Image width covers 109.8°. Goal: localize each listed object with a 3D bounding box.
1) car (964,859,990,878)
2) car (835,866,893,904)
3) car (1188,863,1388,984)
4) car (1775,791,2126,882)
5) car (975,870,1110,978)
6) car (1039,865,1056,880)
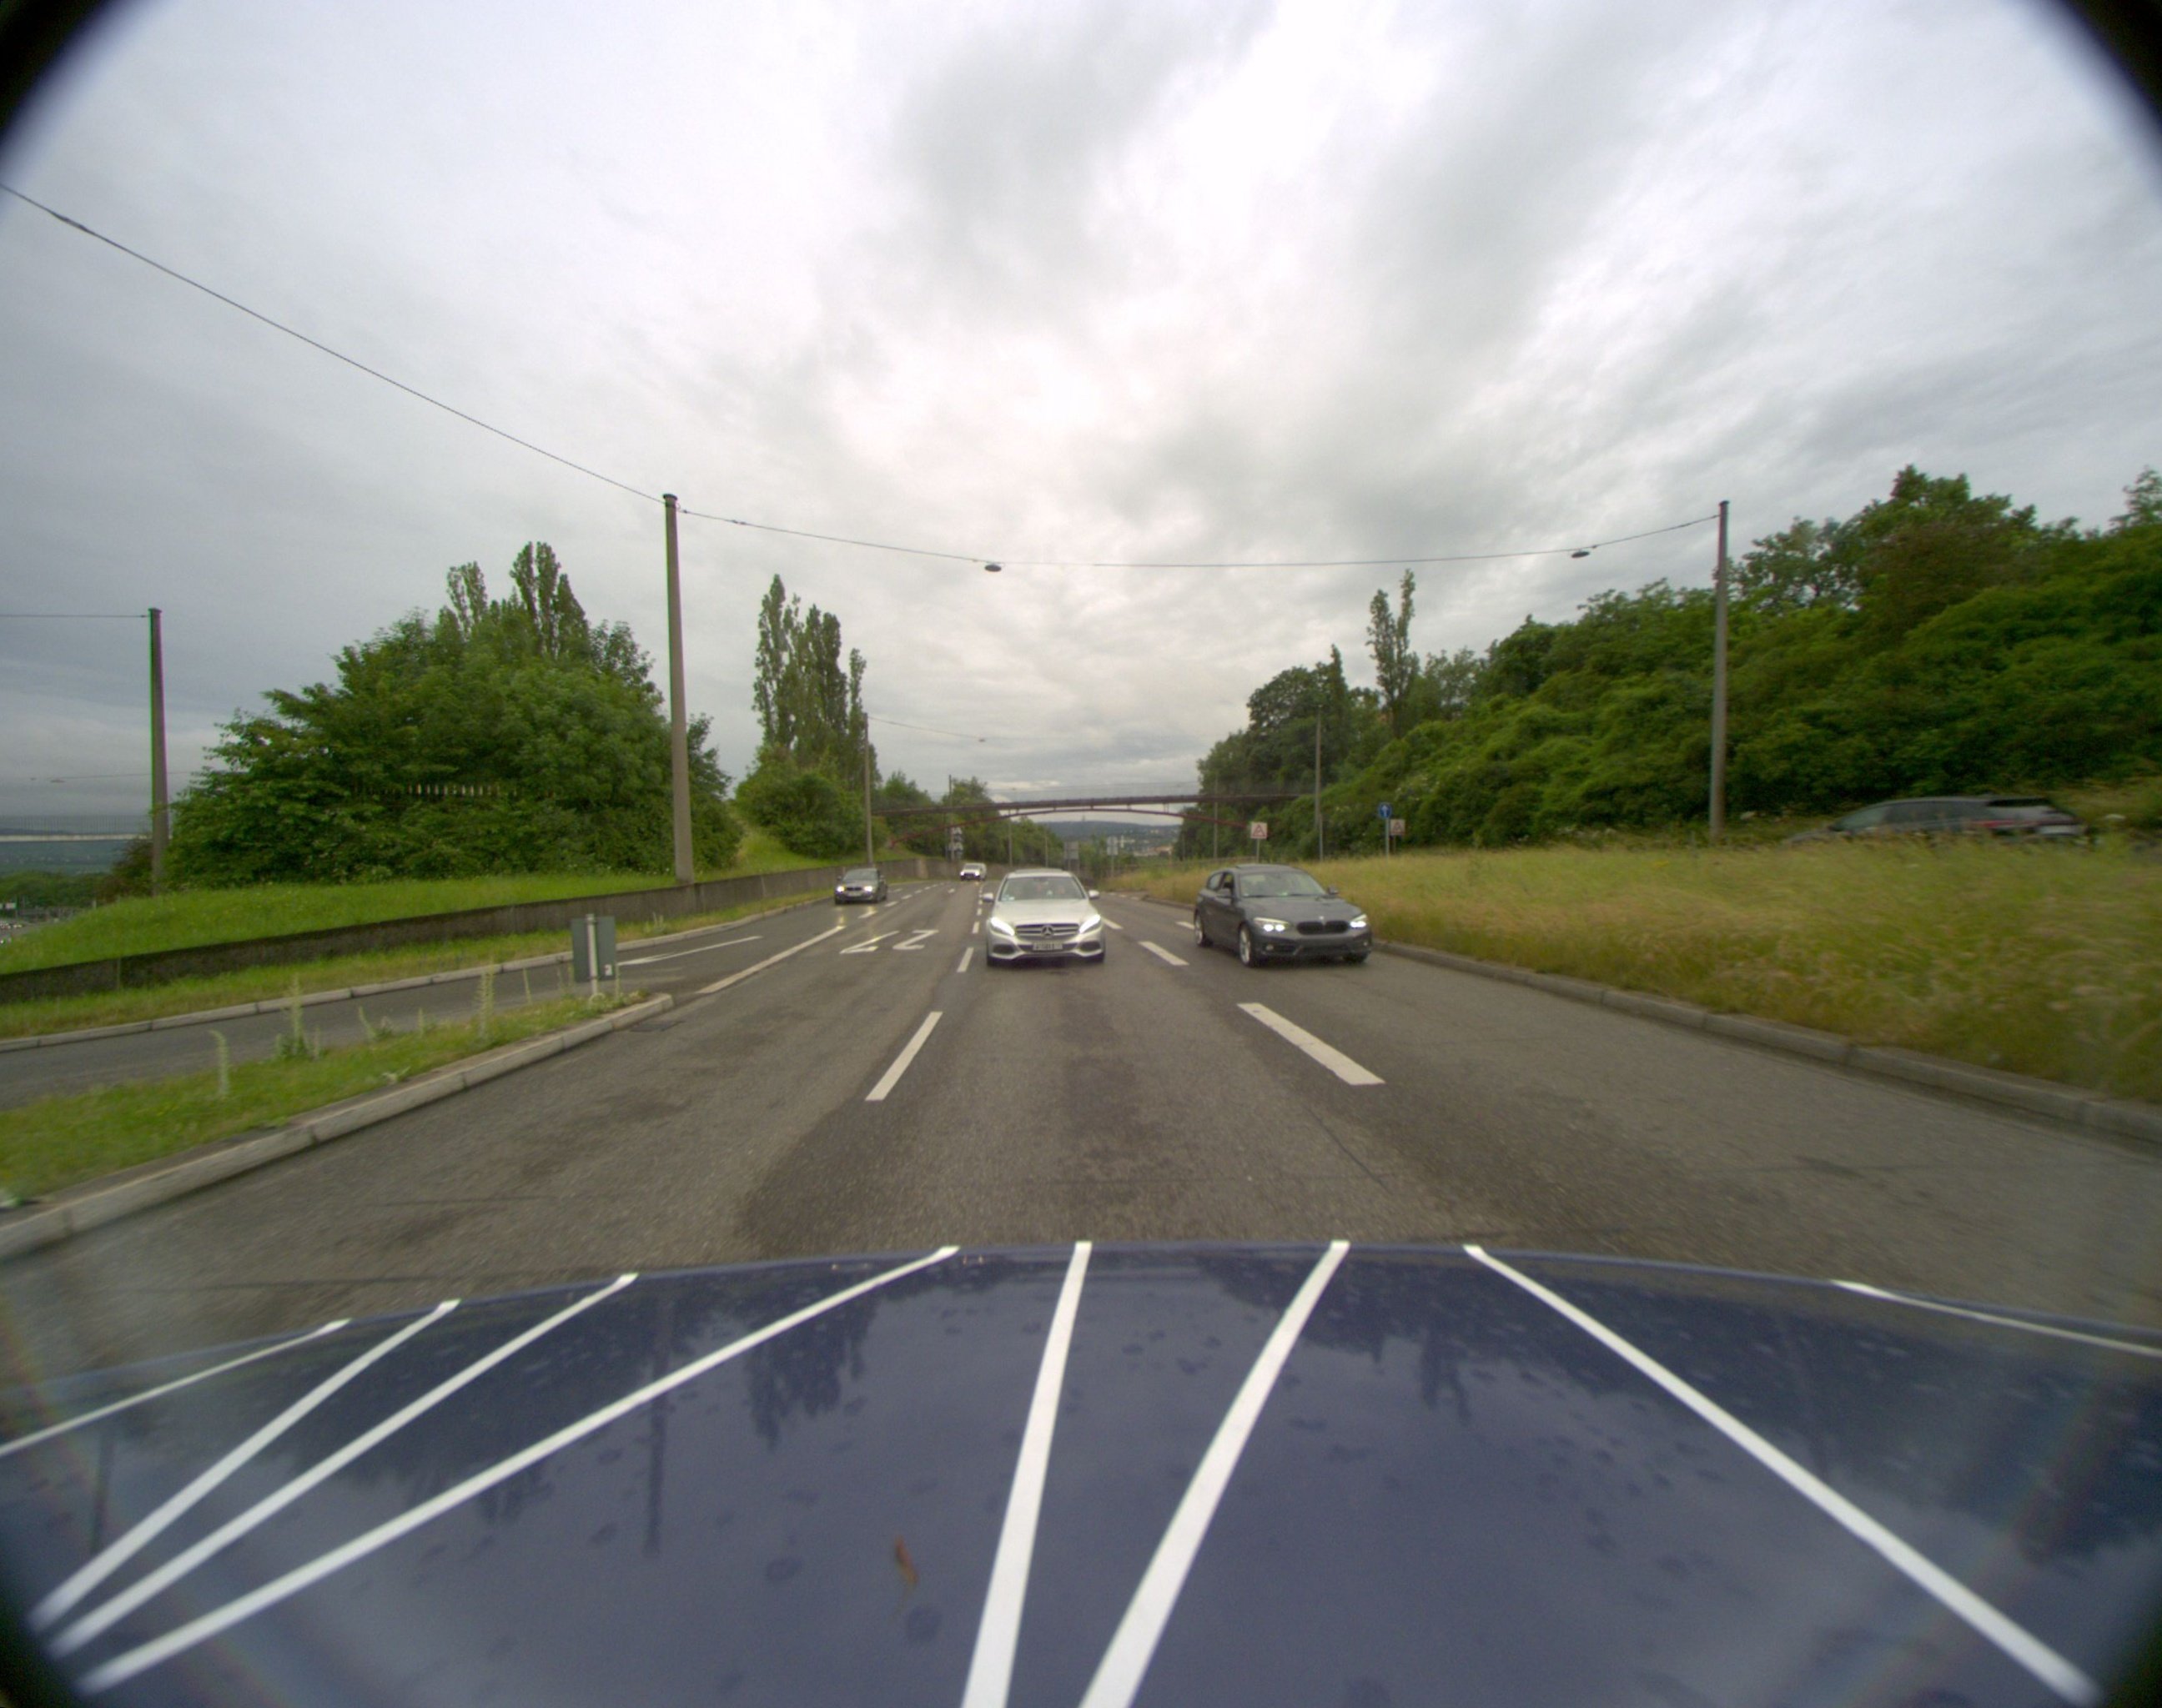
[{"bbox_3d":[-10.760,1.502,78.719,1.998,1.837,4.823,0,1,0],"label":"car"},{"bbox_3d":[-9.050,1.256,31.955,1.685,1.411,4.080,-3,-1,-7],"label":"car"},{"bbox_3d":[3.037,0.938,12.104,1.708,1.451,4.112,-2,1,-5],"label":"car"},{"bbox_3d":[16.456,-0.308,14.819,1.998,1.444,4.286,-2,1,2],"label":"car"},{"bbox_3d":[-0.628,1.041,12.934,1.895,1.360,4.133,-2,1,-2],"label":"car"},{"bbox_3d":[-3.828,2.168,86.330,1.646,1.495,3.780,-4,-3,0],"label":"car"}]
